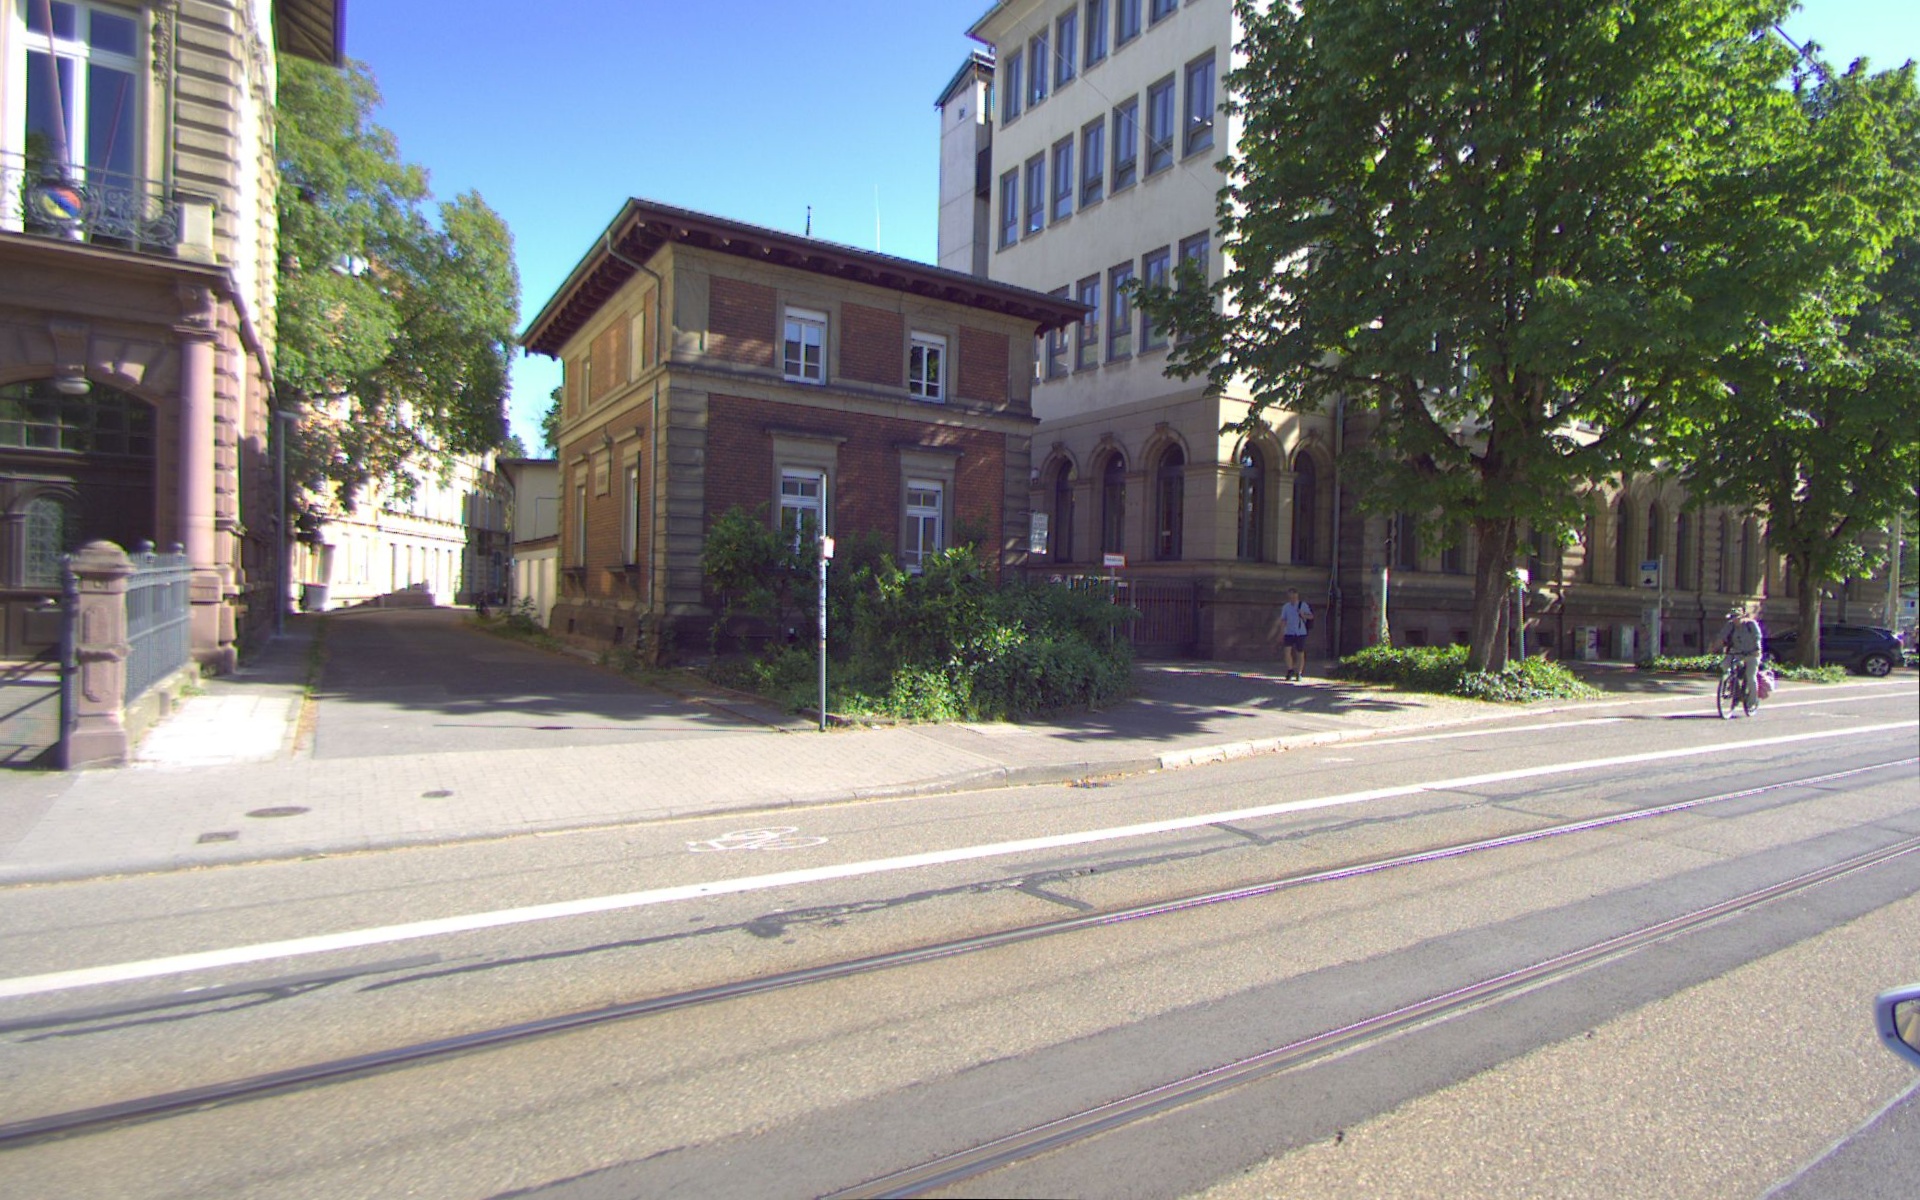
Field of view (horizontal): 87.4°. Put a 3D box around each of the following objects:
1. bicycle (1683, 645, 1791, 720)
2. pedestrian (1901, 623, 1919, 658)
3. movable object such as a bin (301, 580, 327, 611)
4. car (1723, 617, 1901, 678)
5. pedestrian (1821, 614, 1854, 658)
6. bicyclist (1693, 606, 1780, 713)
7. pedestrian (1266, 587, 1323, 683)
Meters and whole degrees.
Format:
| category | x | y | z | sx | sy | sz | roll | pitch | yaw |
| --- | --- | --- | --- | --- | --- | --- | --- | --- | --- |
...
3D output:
| category | x | y | z | sx | sy | sz | roll | pitch | yaw |
| --- | --- | --- | --- | --- | --- | --- | --- | --- | --- |
| bicycle | 12.642 | 1.319 | 16.336 | 1.908 | 1.139 | 0.684 | 2 | -2 | -29 |
| pedestrian | 43.639 | 1.853 | 45.805 | 0.908 | 1.524 | 0.703 | 2 | 1 | 36 |
| movable object such as a bin | -25.059 | -0.176 | 38.959 | 0.692 | 1.172 | 1.128 | 2 | 1 | -27 |
| car | 26.754 | 1.447 | 31.729 | 3.929 | 1.571 | 1.874 | 3 | 1 | 31 |
| pedestrian | 34.789 | 1.432 | 39.835 | 0.751 | 1.657 | 0.696 | 1 | 3 | -32 |
| bicyclist | 12.629 | 0.953 | 16.335 | 1.222 | 1.666 | 0.684 | 2 | -1 | -29 |
| pedestrian | 6.660 | 0.682 | 19.999 | 0.721 | 1.821 | 0.775 | 6 | 4 | 43 |
